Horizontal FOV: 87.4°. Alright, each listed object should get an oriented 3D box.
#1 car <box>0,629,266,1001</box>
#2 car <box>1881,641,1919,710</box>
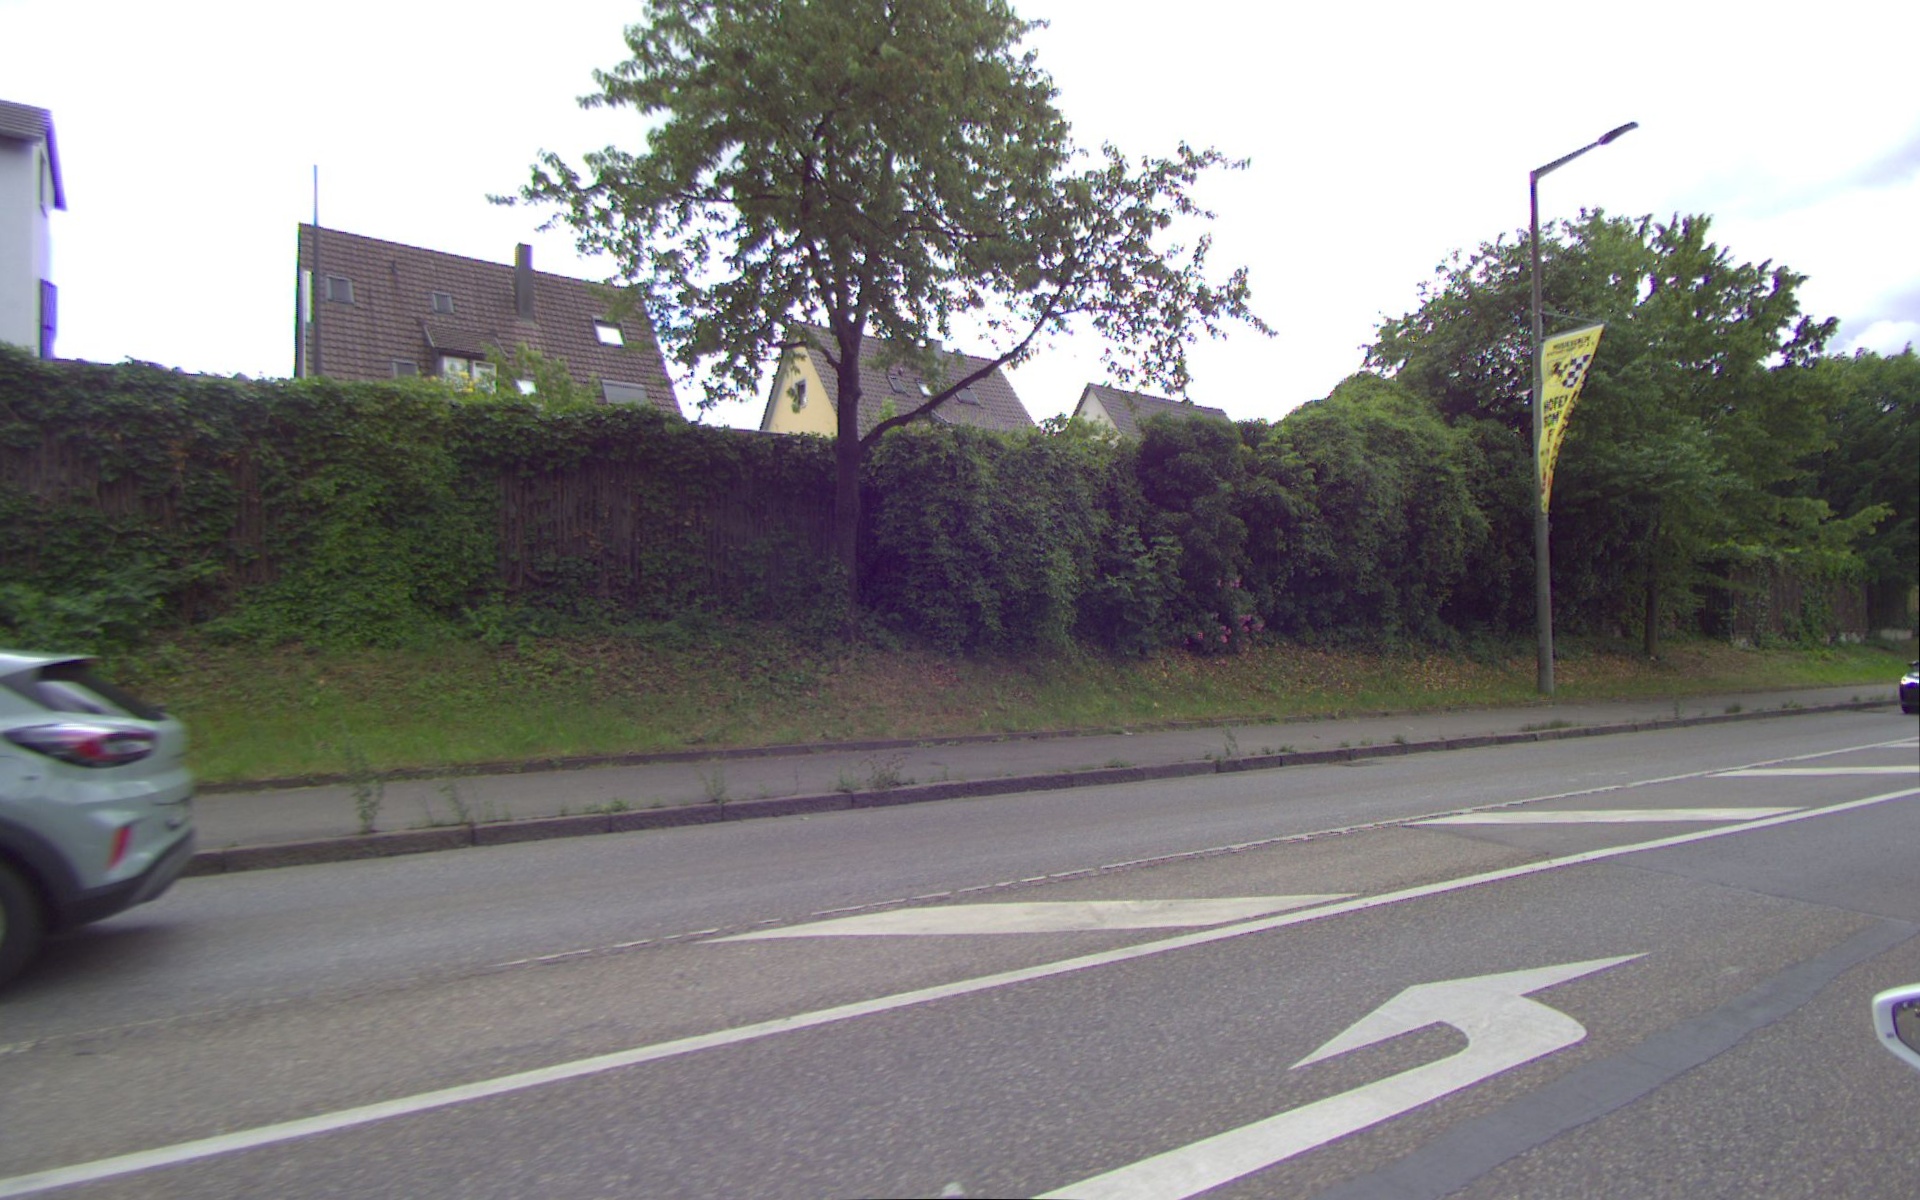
[{"bbox_3d":[-5.403,0.885,4.099,4.097,1.476,1.817,1,-4,-32],"label":"car"},{"bbox_3d":[21.366,1.539,21.206,4.402,1.393,1.830,1,-4,-34],"label":"car"}]
